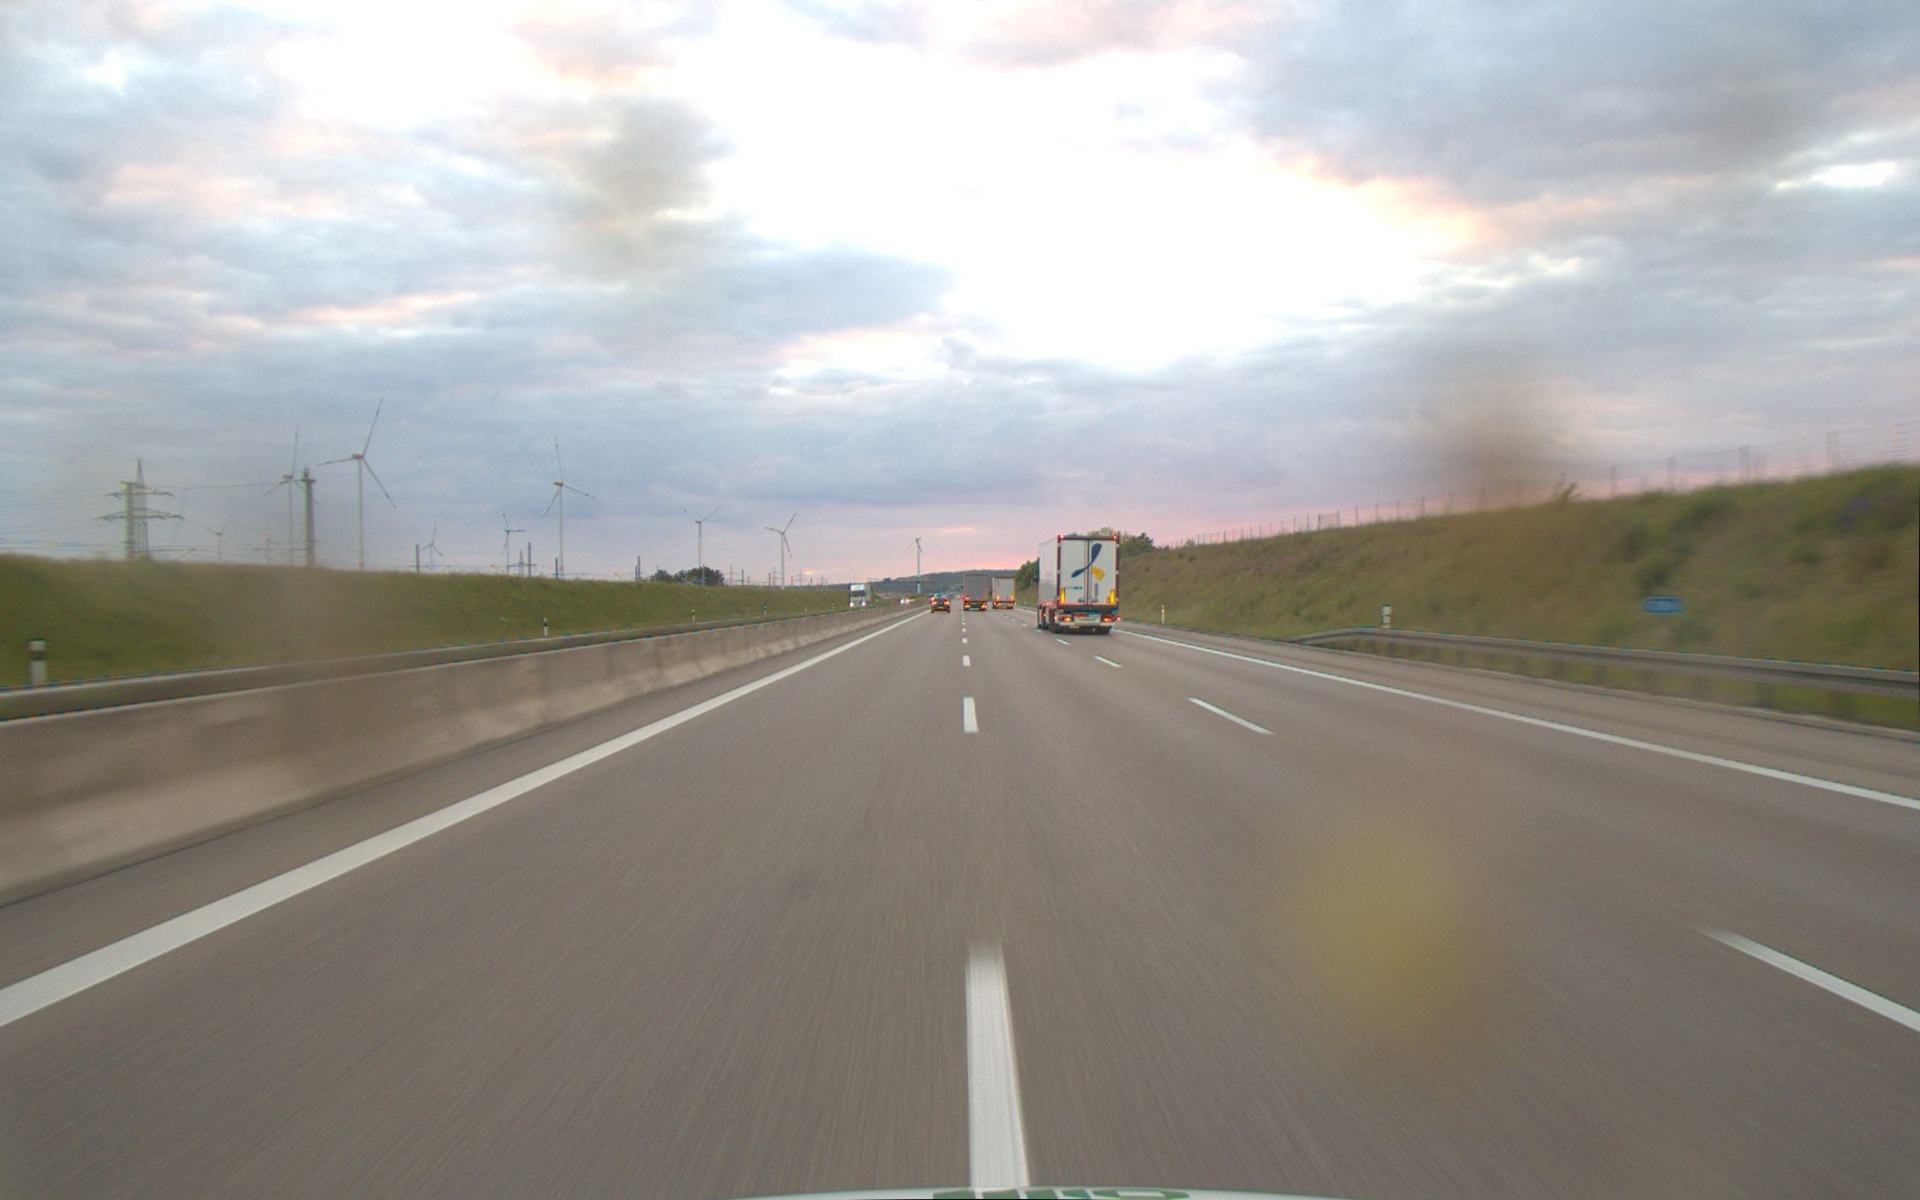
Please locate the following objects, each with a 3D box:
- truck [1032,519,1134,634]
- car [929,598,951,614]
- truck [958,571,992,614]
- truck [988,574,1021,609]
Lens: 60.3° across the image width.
[{"bbox_3d":[5.279,-0.989,73.133,3.600,4.644,10.980,-1,0,0],"label":"truck"},{"bbox_3d":[-1.869,0.544,154.065,1.947,1.454,4.001,-1,1,1],"label":"car"},{"bbox_3d":[1.609,-0.819,183.564,3.573,4.491,8.634,-1,0,0],"label":"truck"},{"bbox_3d":[5.746,-1.107,216.312,3.885,4.491,8.634,-1,0,-1],"label":"truck"}]
